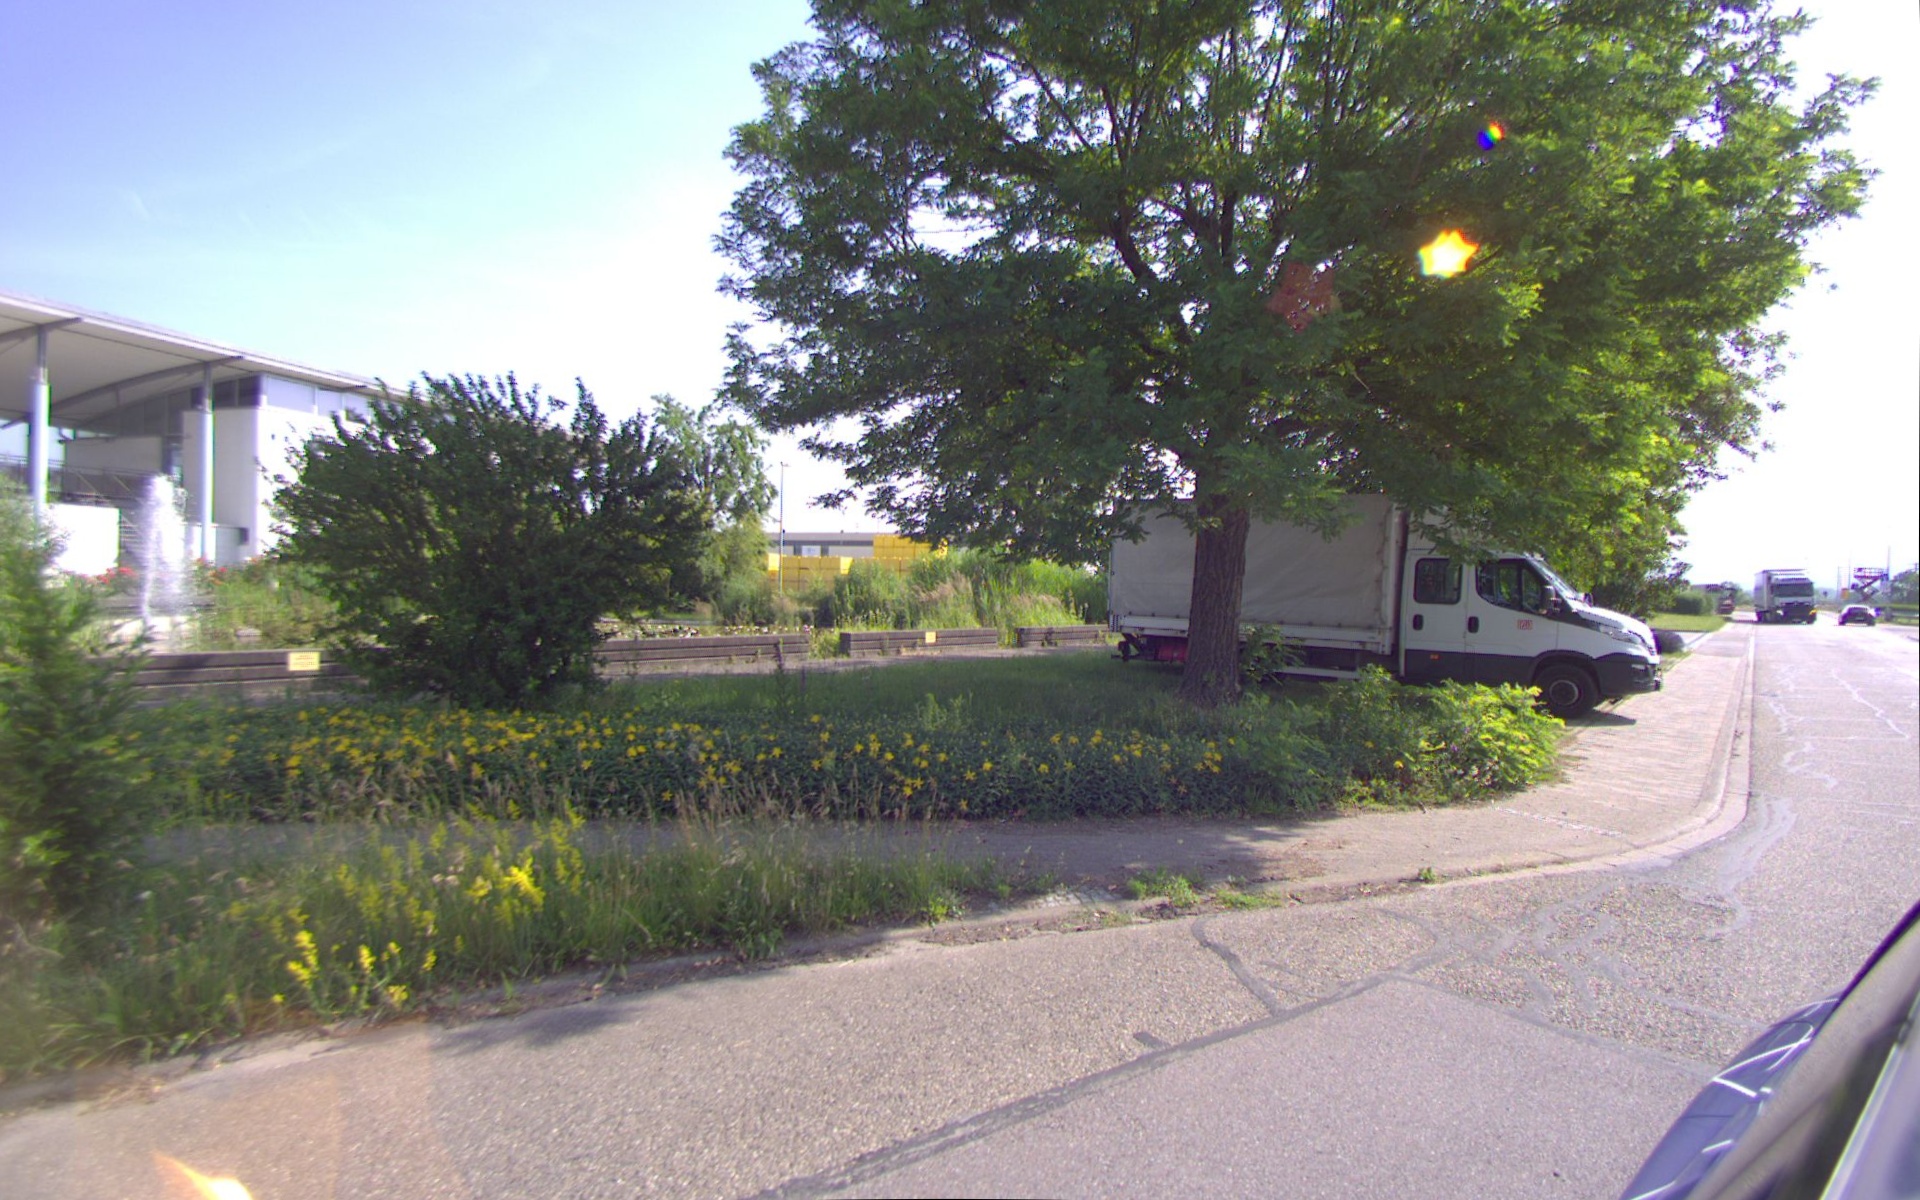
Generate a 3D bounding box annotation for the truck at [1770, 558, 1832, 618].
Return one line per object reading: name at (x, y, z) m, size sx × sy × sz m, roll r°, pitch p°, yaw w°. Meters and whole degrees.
truck at (62.850, -0.883, 75.759) m, size 3.380 × 4.260 × 6.013 m, roll -2°, pitch 0°, yaw 39°

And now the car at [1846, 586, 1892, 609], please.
car at (64.294, -0.182, 71.610) m, size 1.990 × 1.467 × 4.360 m, roll 4°, pitch 2°, yaw 37°

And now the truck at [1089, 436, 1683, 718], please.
truck at (6.251, -0.409, 15.924) m, size 8.194 × 3.412 × 2.703 m, roll 2°, pitch 2°, yaw 39°

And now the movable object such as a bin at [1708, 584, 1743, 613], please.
movable object such as a bin at (84.693, -0.174, 111.976) m, size 2.417 × 3.049 × 5.689 m, roll 2°, pitch 2°, yaw 31°

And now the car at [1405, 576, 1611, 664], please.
car at (12.937, 0.400, 23.999) m, size 3.983 × 1.861 × 1.971 m, roll 2°, pitch 1°, yaw 41°

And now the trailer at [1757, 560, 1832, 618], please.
trailer at (66.932, -0.916, 81.464) m, size 3.477 × 4.260 × 14.053 m, roll -2°, pitch 0°, yaw 35°
